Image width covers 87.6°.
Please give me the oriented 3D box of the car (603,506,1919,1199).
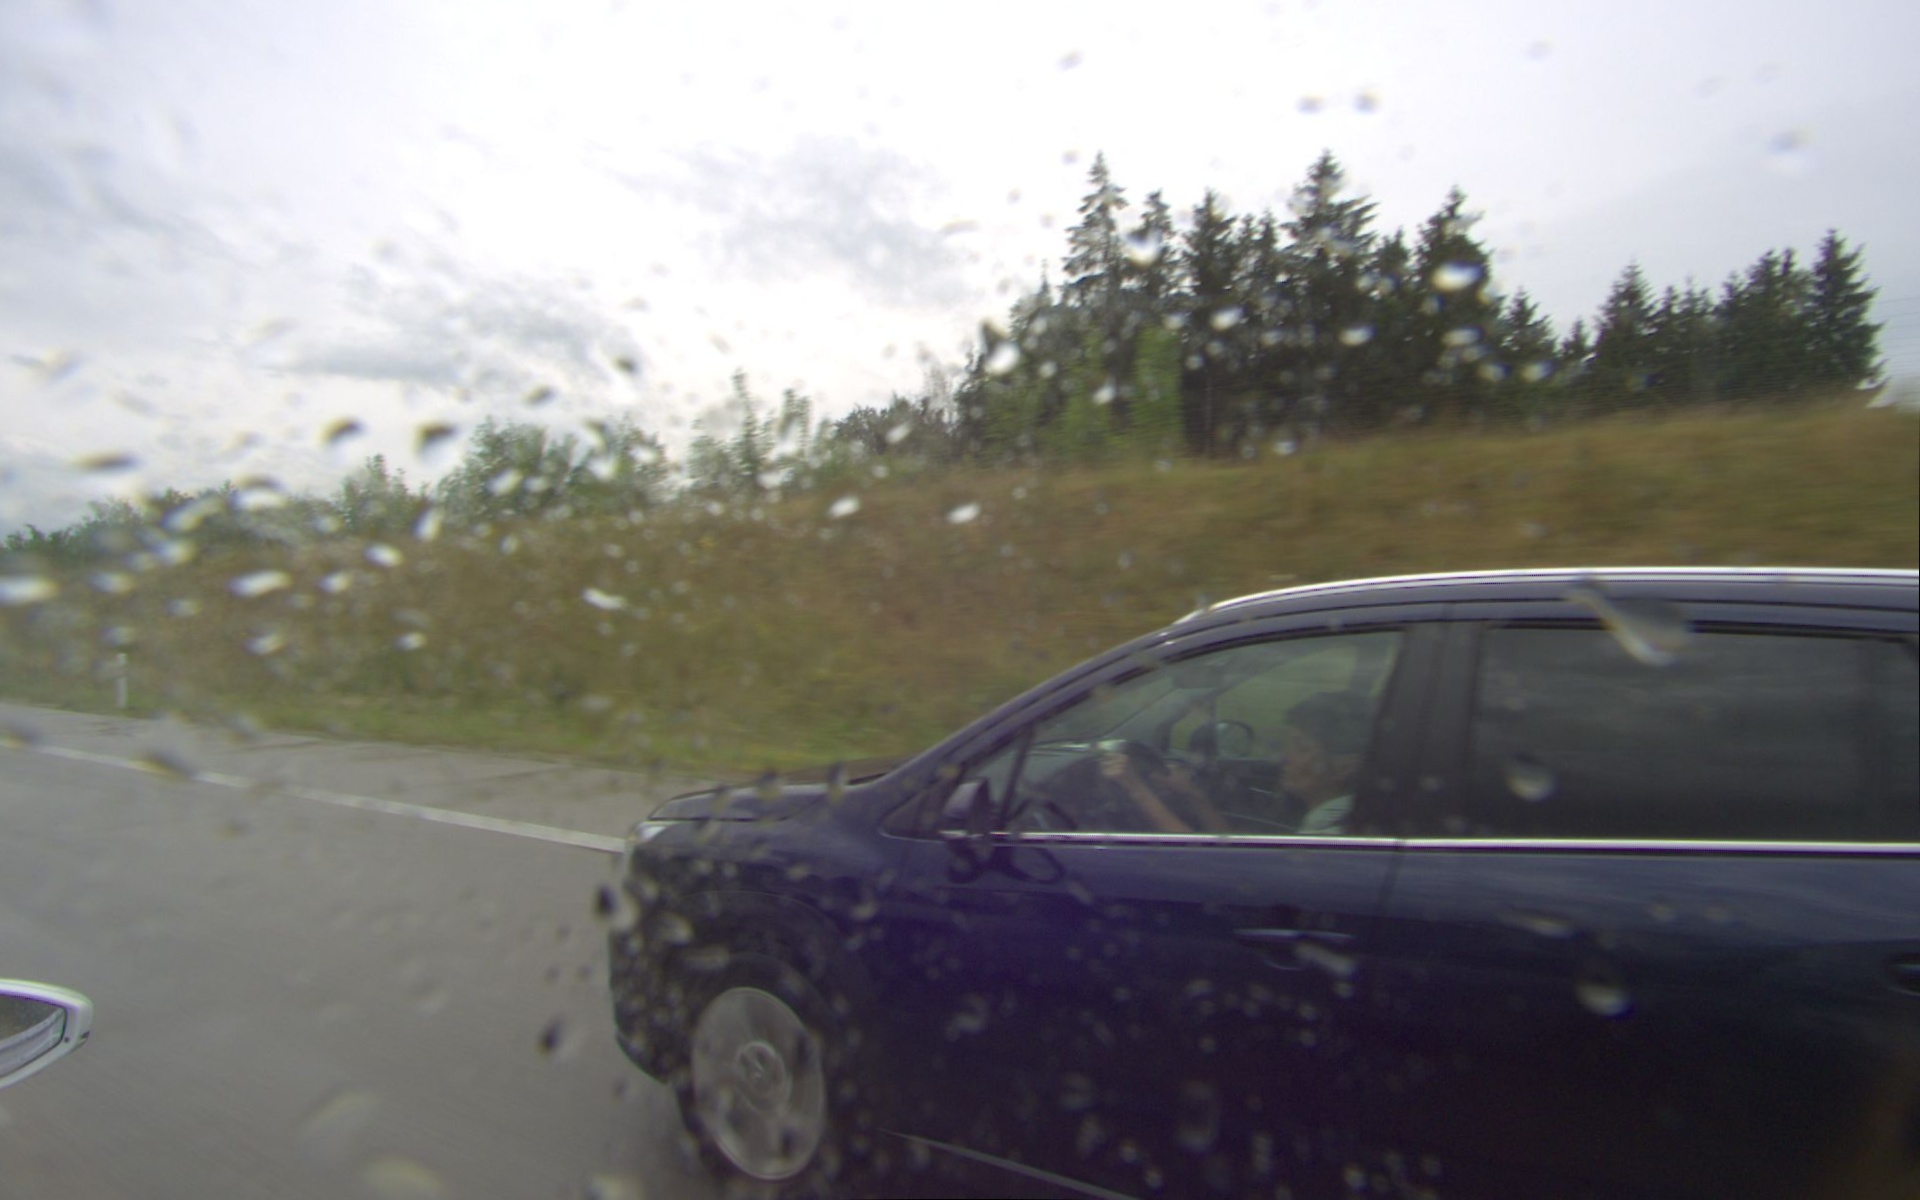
[{"bbox_3d":[1.030,0.709,2.596,3.580,1.596,1.891,0,-2,33],"label":"car"}]
